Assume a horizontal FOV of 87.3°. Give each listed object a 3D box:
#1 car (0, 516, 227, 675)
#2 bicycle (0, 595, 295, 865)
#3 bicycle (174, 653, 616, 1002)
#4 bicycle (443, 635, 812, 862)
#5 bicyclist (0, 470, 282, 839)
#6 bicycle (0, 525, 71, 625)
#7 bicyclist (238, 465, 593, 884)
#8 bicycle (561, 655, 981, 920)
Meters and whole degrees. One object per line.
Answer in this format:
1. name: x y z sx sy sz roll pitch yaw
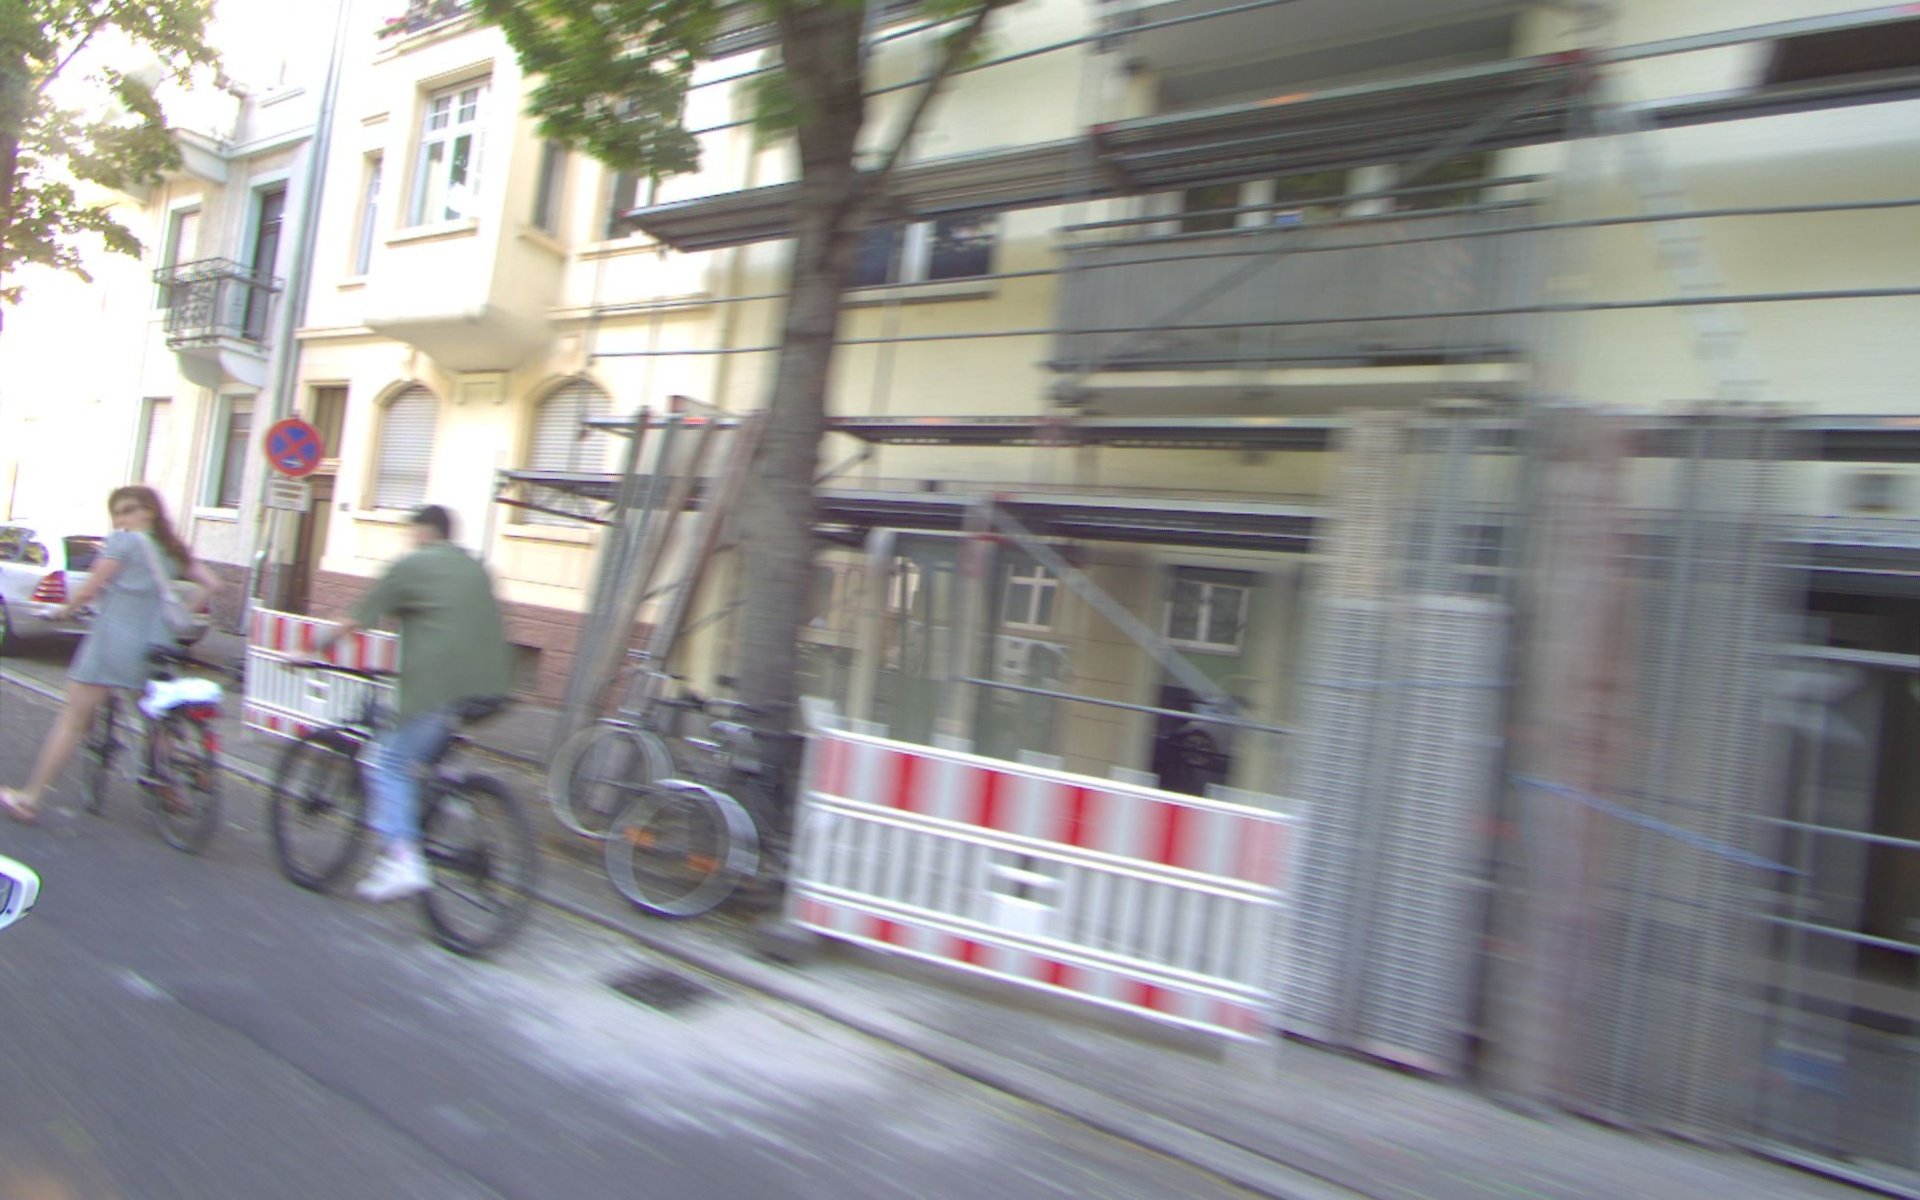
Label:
1. car: -10.565 -0.154 11.705 4.357 1.439 1.683 6 -1 32
2. bicycle: -4.396 0.620 5.231 1.827 1.055 0.708 6 -5 32
3. bicycle: -2.526 0.901 4.459 1.826 1.071 0.741 6 -4 29
4. bicycle: -1.996 0.927 6.310 0.737 1.134 1.976 6 -3 42
5. bicyclist: -4.309 0.267 5.226 0.965 1.706 0.717 6 -4 31
6. bicycle: -13.688 -0.412 13.991 0.576 1.320 1.763 7 -2 30
7. bicyclist: -2.368 0.299 4.421 0.964 1.582 0.758 7 -3 28
8. bicycle: -0.958 0.999 5.277 1.909 1.134 0.742 10 -3 -29
